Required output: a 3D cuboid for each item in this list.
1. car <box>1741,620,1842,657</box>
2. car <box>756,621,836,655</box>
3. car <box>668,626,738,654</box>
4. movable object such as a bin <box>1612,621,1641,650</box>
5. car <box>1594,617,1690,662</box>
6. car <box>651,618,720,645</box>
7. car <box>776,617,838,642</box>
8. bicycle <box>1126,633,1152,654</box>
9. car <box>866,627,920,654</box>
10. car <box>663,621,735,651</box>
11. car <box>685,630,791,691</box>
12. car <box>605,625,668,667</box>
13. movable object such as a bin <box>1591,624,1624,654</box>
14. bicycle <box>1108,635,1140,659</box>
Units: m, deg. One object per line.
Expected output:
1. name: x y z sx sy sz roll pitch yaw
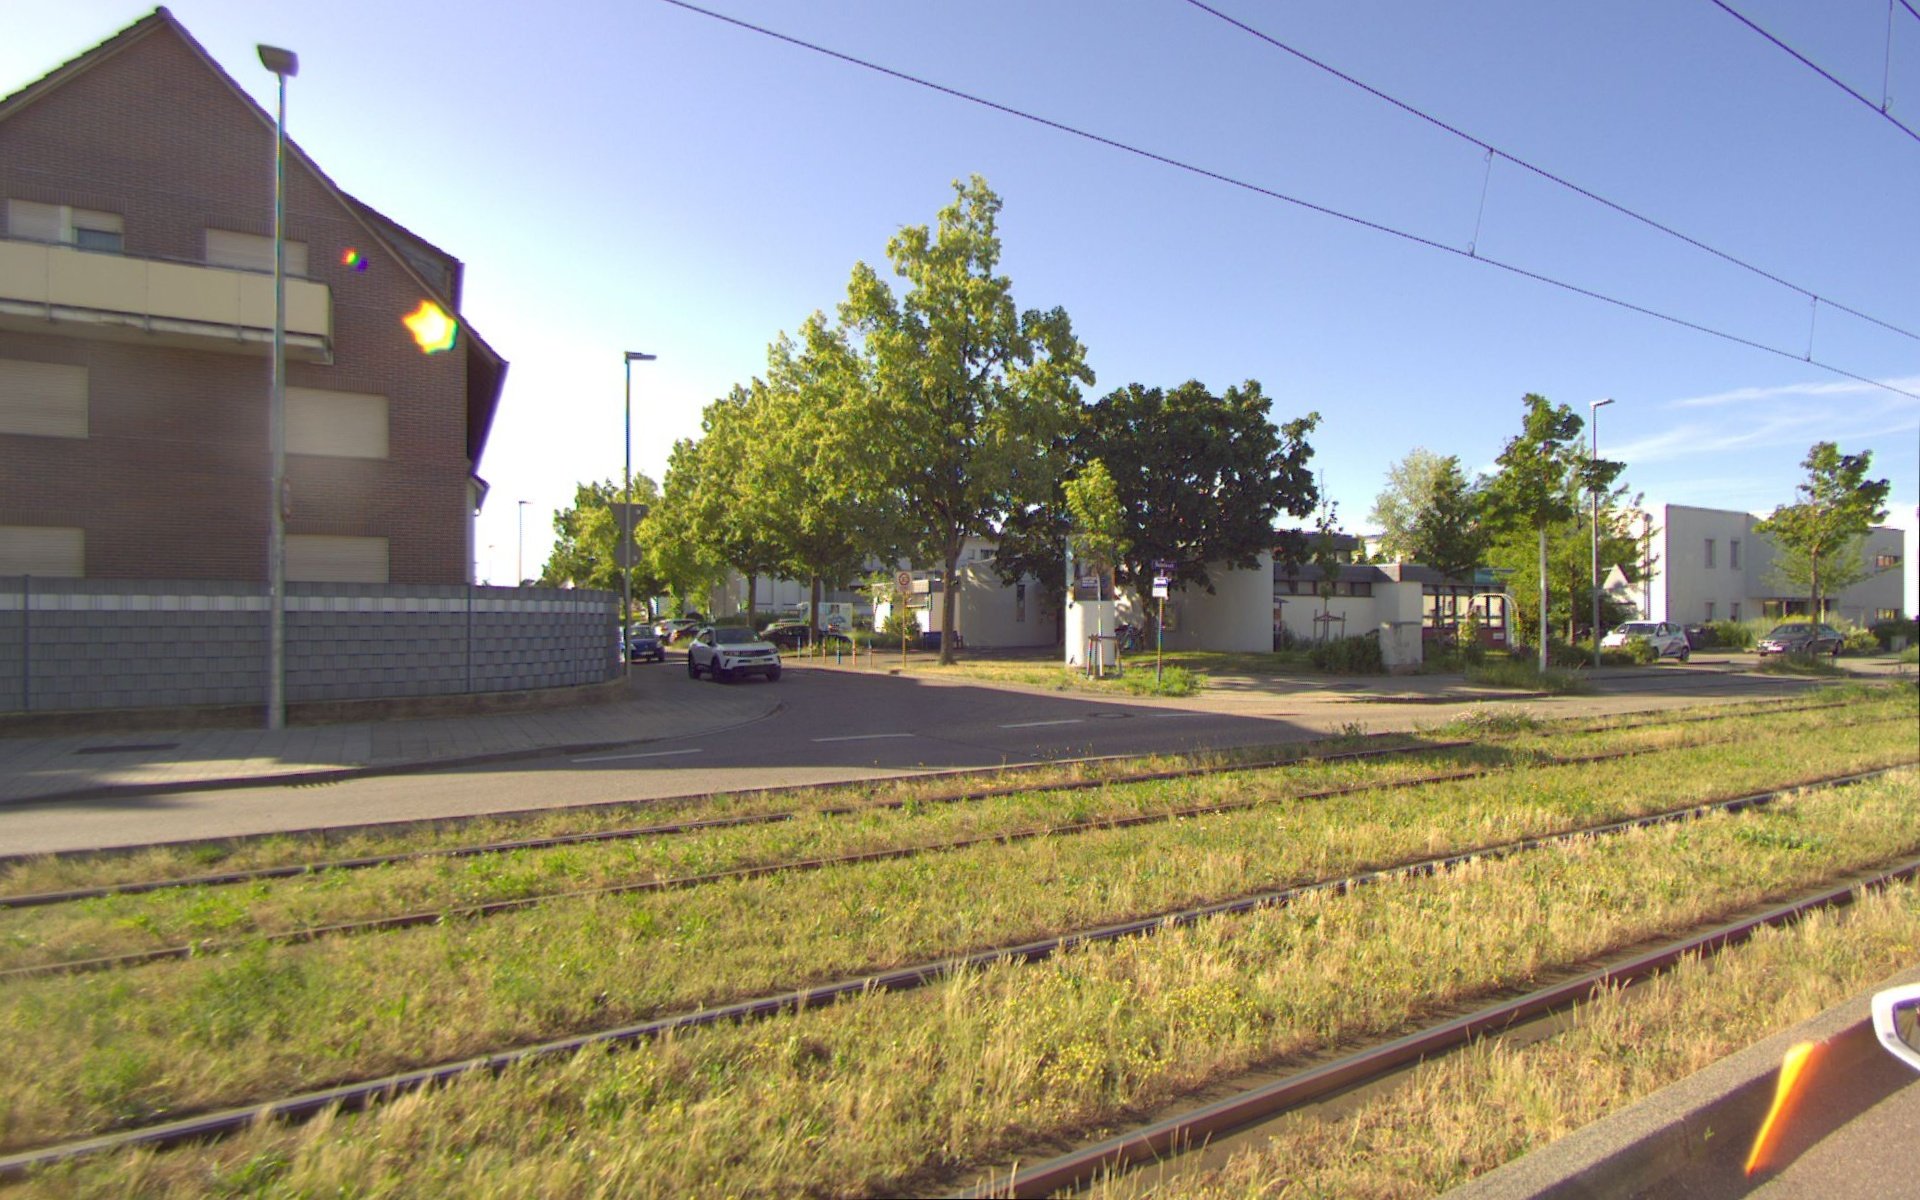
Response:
1. car: 35.667 1.650 43.060 4.262 1.480 1.804 1 0 -27
2. car: -7.331 1.675 44.869 3.269 1.429 1.646 0 1 -20
3. car: -15.342 2.353 59.960 3.777 1.505 1.718 0 1 -25
4. movable object such as a bin: 33.380 1.784 50.306 1.237 1.453 0.662 1 0 -24
5. car: 24.621 1.401 36.231 3.734 1.511 1.535 1 0 -33
6. car: -17.573 1.999 64.364 3.954 1.638 1.615 0 1 -31
7. car: -10.552 1.997 69.314 3.948 1.639 1.760 0 1 -27
8. bicycle: 6.687 1.616 37.526 0.299 0.790 1.052 1 -1 -36
9. car: -3.371 2.012 49.942 1.324 1.228 4.004 1 -1 -25
10. car: -16.178 2.190 62.292 4.107 1.698 1.840 0 1 -25
11. car: -6.310 1.634 28.265 1.817 1.449 3.842 -1 1 -30
12. car: -13.142 1.832 40.693 1.705 1.481 3.600 1 0 -30
13. movable object such as a bin: 31.986 1.926 49.616 1.401 1.401 0.662 1 0 -24
14. bicycle: 5.986 1.710 36.764 0.332 0.836 1.231 1 -1 -40
